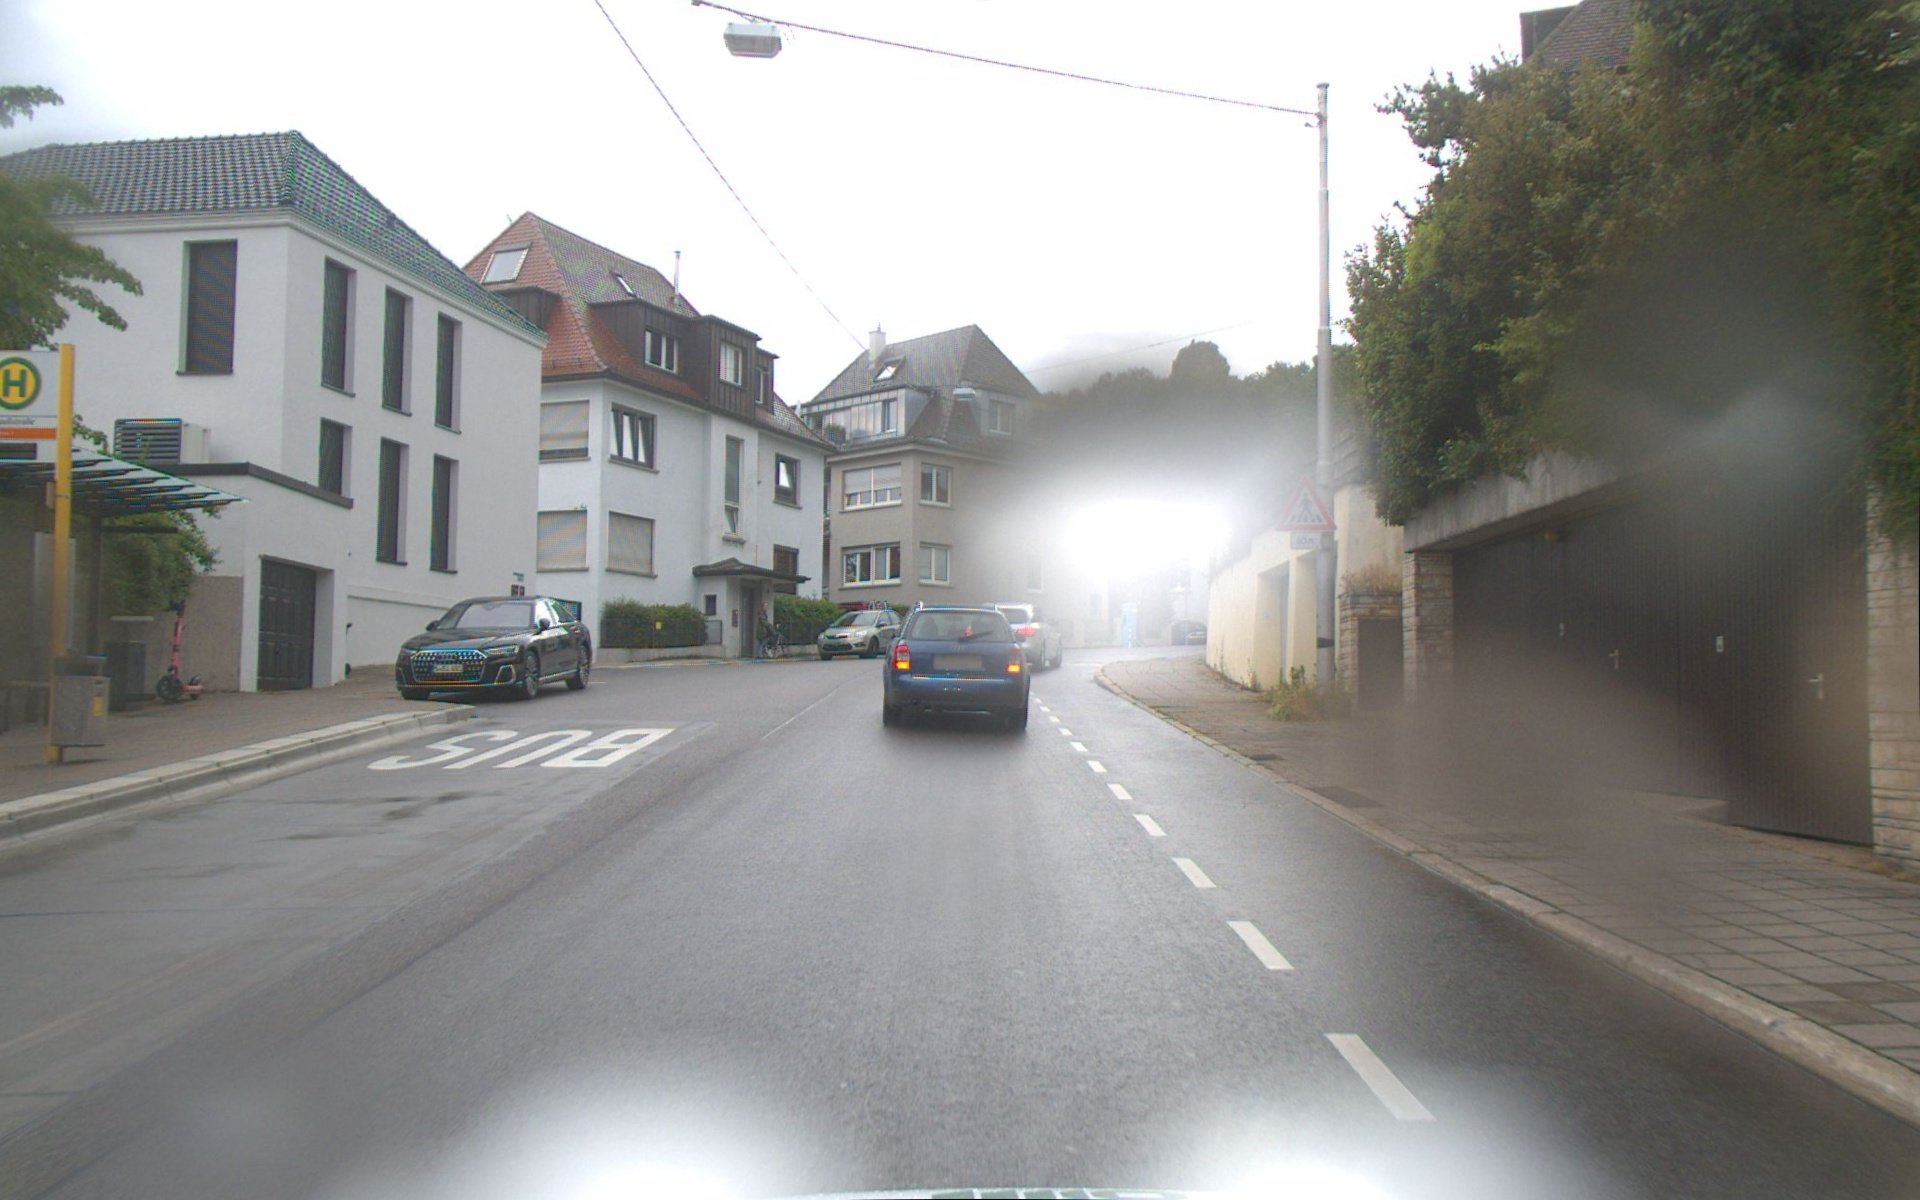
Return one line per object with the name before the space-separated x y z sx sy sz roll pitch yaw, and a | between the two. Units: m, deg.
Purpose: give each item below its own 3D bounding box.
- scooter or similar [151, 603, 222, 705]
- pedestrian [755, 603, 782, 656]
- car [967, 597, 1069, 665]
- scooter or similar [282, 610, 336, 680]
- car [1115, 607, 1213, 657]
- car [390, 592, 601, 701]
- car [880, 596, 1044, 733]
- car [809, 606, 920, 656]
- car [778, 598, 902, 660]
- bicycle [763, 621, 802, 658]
scooter or similar | -9.709 0.663 20.797 0.330 1.241 1.122 1 -1 0
pedestrian | -5.805 0.891 50.139 0.482 1.605 0.948 0 -1 18
car | 1.350 0.730 37.114 1.773 1.384 4.003 2 -2 9
scooter or similar | -10.874 0.738 27.662 0.421 1.129 1.311 1 0 -3
car | 9.170 1.446 74.781 1.978 1.651 4.201 0 -9 -36
car | -7.037 0.680 25.602 1.791 1.512 4.991 0 -1 1
car | 0.034 0.716 20.393 1.774 1.464 4.081 2 0 0
car | -2.893 0.933 50.882 1.798 1.450 4.229 -2 -1 21
car | -4.353 1.048 59.784 3.911 1.854 1.997 -6 -3 28
bicycle | -5.360 1.175 49.981 0.446 1.086 1.922 0 0 18
